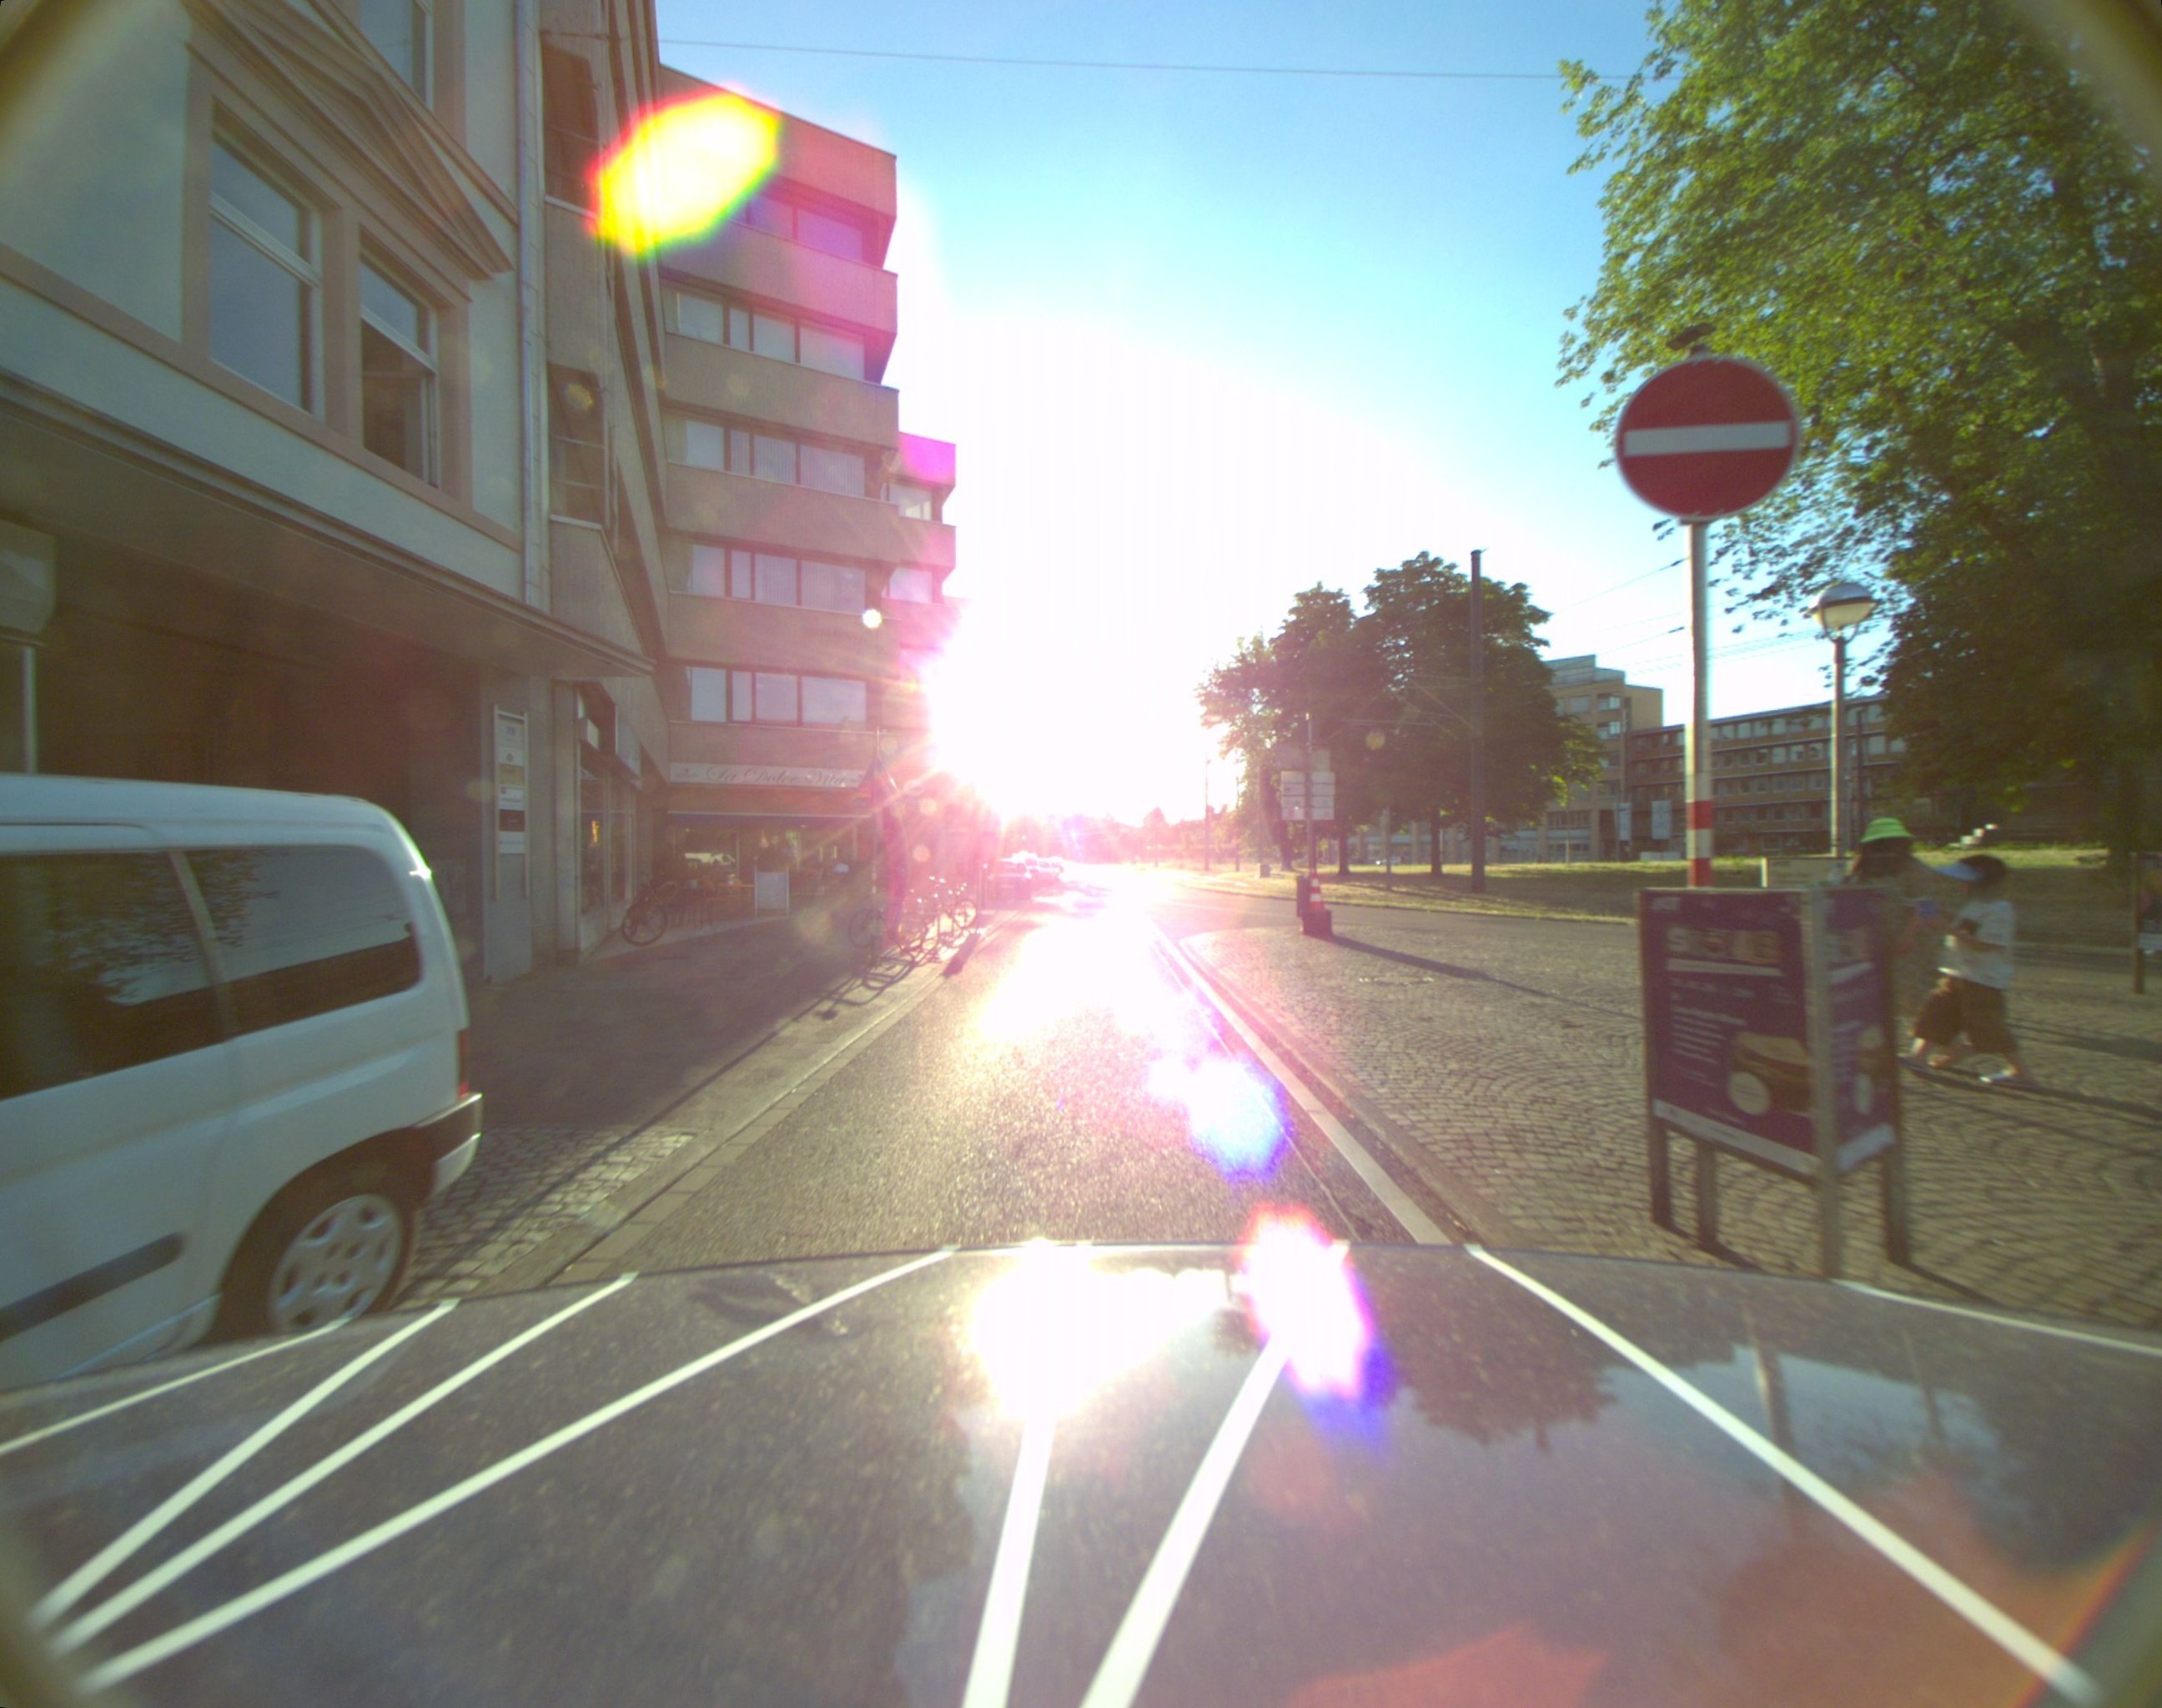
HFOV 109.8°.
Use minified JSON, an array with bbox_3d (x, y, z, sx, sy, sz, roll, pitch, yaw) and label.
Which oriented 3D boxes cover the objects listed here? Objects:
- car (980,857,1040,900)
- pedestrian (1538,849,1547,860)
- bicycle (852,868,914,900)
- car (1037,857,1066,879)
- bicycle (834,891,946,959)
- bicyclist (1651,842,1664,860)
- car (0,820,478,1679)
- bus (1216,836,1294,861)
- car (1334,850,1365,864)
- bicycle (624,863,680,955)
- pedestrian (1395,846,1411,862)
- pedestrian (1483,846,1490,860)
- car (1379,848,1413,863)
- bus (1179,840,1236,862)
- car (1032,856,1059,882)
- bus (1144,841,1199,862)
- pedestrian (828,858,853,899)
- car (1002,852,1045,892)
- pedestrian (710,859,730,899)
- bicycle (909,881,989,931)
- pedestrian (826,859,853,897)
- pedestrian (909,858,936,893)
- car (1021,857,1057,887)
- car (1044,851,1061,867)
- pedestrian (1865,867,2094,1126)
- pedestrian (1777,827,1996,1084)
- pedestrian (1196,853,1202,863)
[{"bbox_3d":[-2.668,0.901,29.282,1.794,1.499,3.921,-2,0,2],"label":"car"},{"bbox_3d":[53.926,0.030,88.845,0.568,1.316,0.682,-2,0,-25],"label":"pedestrian"},{"bbox_3d":[-6.417,0.974,24.643,1.896,0.999,0.457,2,0,-38],"label":"bicycle"},{"bbox_3d":[-2.059,0.954,53.966,1.789,1.448,4.000,-1,0,2],"label":"car"},{"bbox_3d":[-3.166,1.145,12.574,1.789,0.984,0.543,2,-1,23],"label":"bicycle"},{"bbox_3d":[56.904,-0.306,75.006,0.895,1.681,0.955,1,2,44],"label":"bicyclist"},{"bbox_3d":[-3.162,0.833,0.752,1.797,1.781,4.092,-1,0,1],"label":"car"},{"bbox_3d":[25.460,-0.687,112.471,3.765,3.342,13.687,-2,0,-24],"label":"bus"},{"bbox_3d":[39.511,0.450,111.708,1.914,2.002,3.991,-2,0,-29],"label":"car"},{"bbox_3d":[-6.813,0.827,12.044,0.416,1.269,1.659,-1,4,-42],"label":"bicycle"},{"bbox_3d":[42.548,-0.049,100.362,1.060,2.082,1.631,-2,0,-19],"label":"pedestrian"},{"bbox_3d":[50.926,-0.133,95.396,0.532,1.682,0.617,-2,0,-17],"label":"pedestrian"},{"bbox_3d":[43.215,0.230,104.231,1.858,2.002,3.902,-2,0,-29],"label":"car"},{"bbox_3d":[20.467,-0.491,123.593,3.765,3.311,10.716,-2,0,-24],"label":"bus"},{"bbox_3d":[-2.248,0.921,48.948,1.589,1.581,3.667,-2,0,-1],"label":"car"},{"bbox_3d":[15.794,-0.345,134.018,3.765,3.435,12.109,-2,0,-24],"label":"bus"},{"bbox_3d":[-7.772,0.784,24.569,0.642,1.288,0.706,1,0,-8],"label":"pedestrian"},{"bbox_3d":[-2.762,0.838,37.411,1.788,1.794,4.401,-2,0,-1],"label":"car"},{"bbox_3d":[-11.371,0.788,23.961,0.559,1.232,0.613,0,0,-24],"label":"pedestrian"},{"bbox_3d":[-2.895,1.116,16.602,1.788,0.984,0.543,2,-1,33],"label":"bicycle"},{"bbox_3d":[-8.040,0.788,25.329,0.706,1.271,0.537,0,0,1],"label":"pedestrian"},{"bbox_3d":[-5.888,0.803,28.237,0.764,1.290,0.708,2,-1,-34],"label":"pedestrian"},{"bbox_3d":[-2.311,0.979,42.742,1.645,1.519,4.000,-2,0,1],"label":"car"},{"bbox_3d":[-2.914,0.526,79.224,1.655,1.525,4.066,-2,0,-1],"label":"car"},{"bbox_3d":[5.092,0.766,4.349,0.613,1.356,0.565,-2,0,14],"label":"pedestrian"},{"bbox_3d":[5.226,0.620,4.985,0.693,1.550,0.700,-2,0,13],"label":"pedestrian"},{"bbox_3d":[16.180,0.549,104.192,0.672,1.450,0.699,-2,0,-3],"label":"pedestrian"}]
